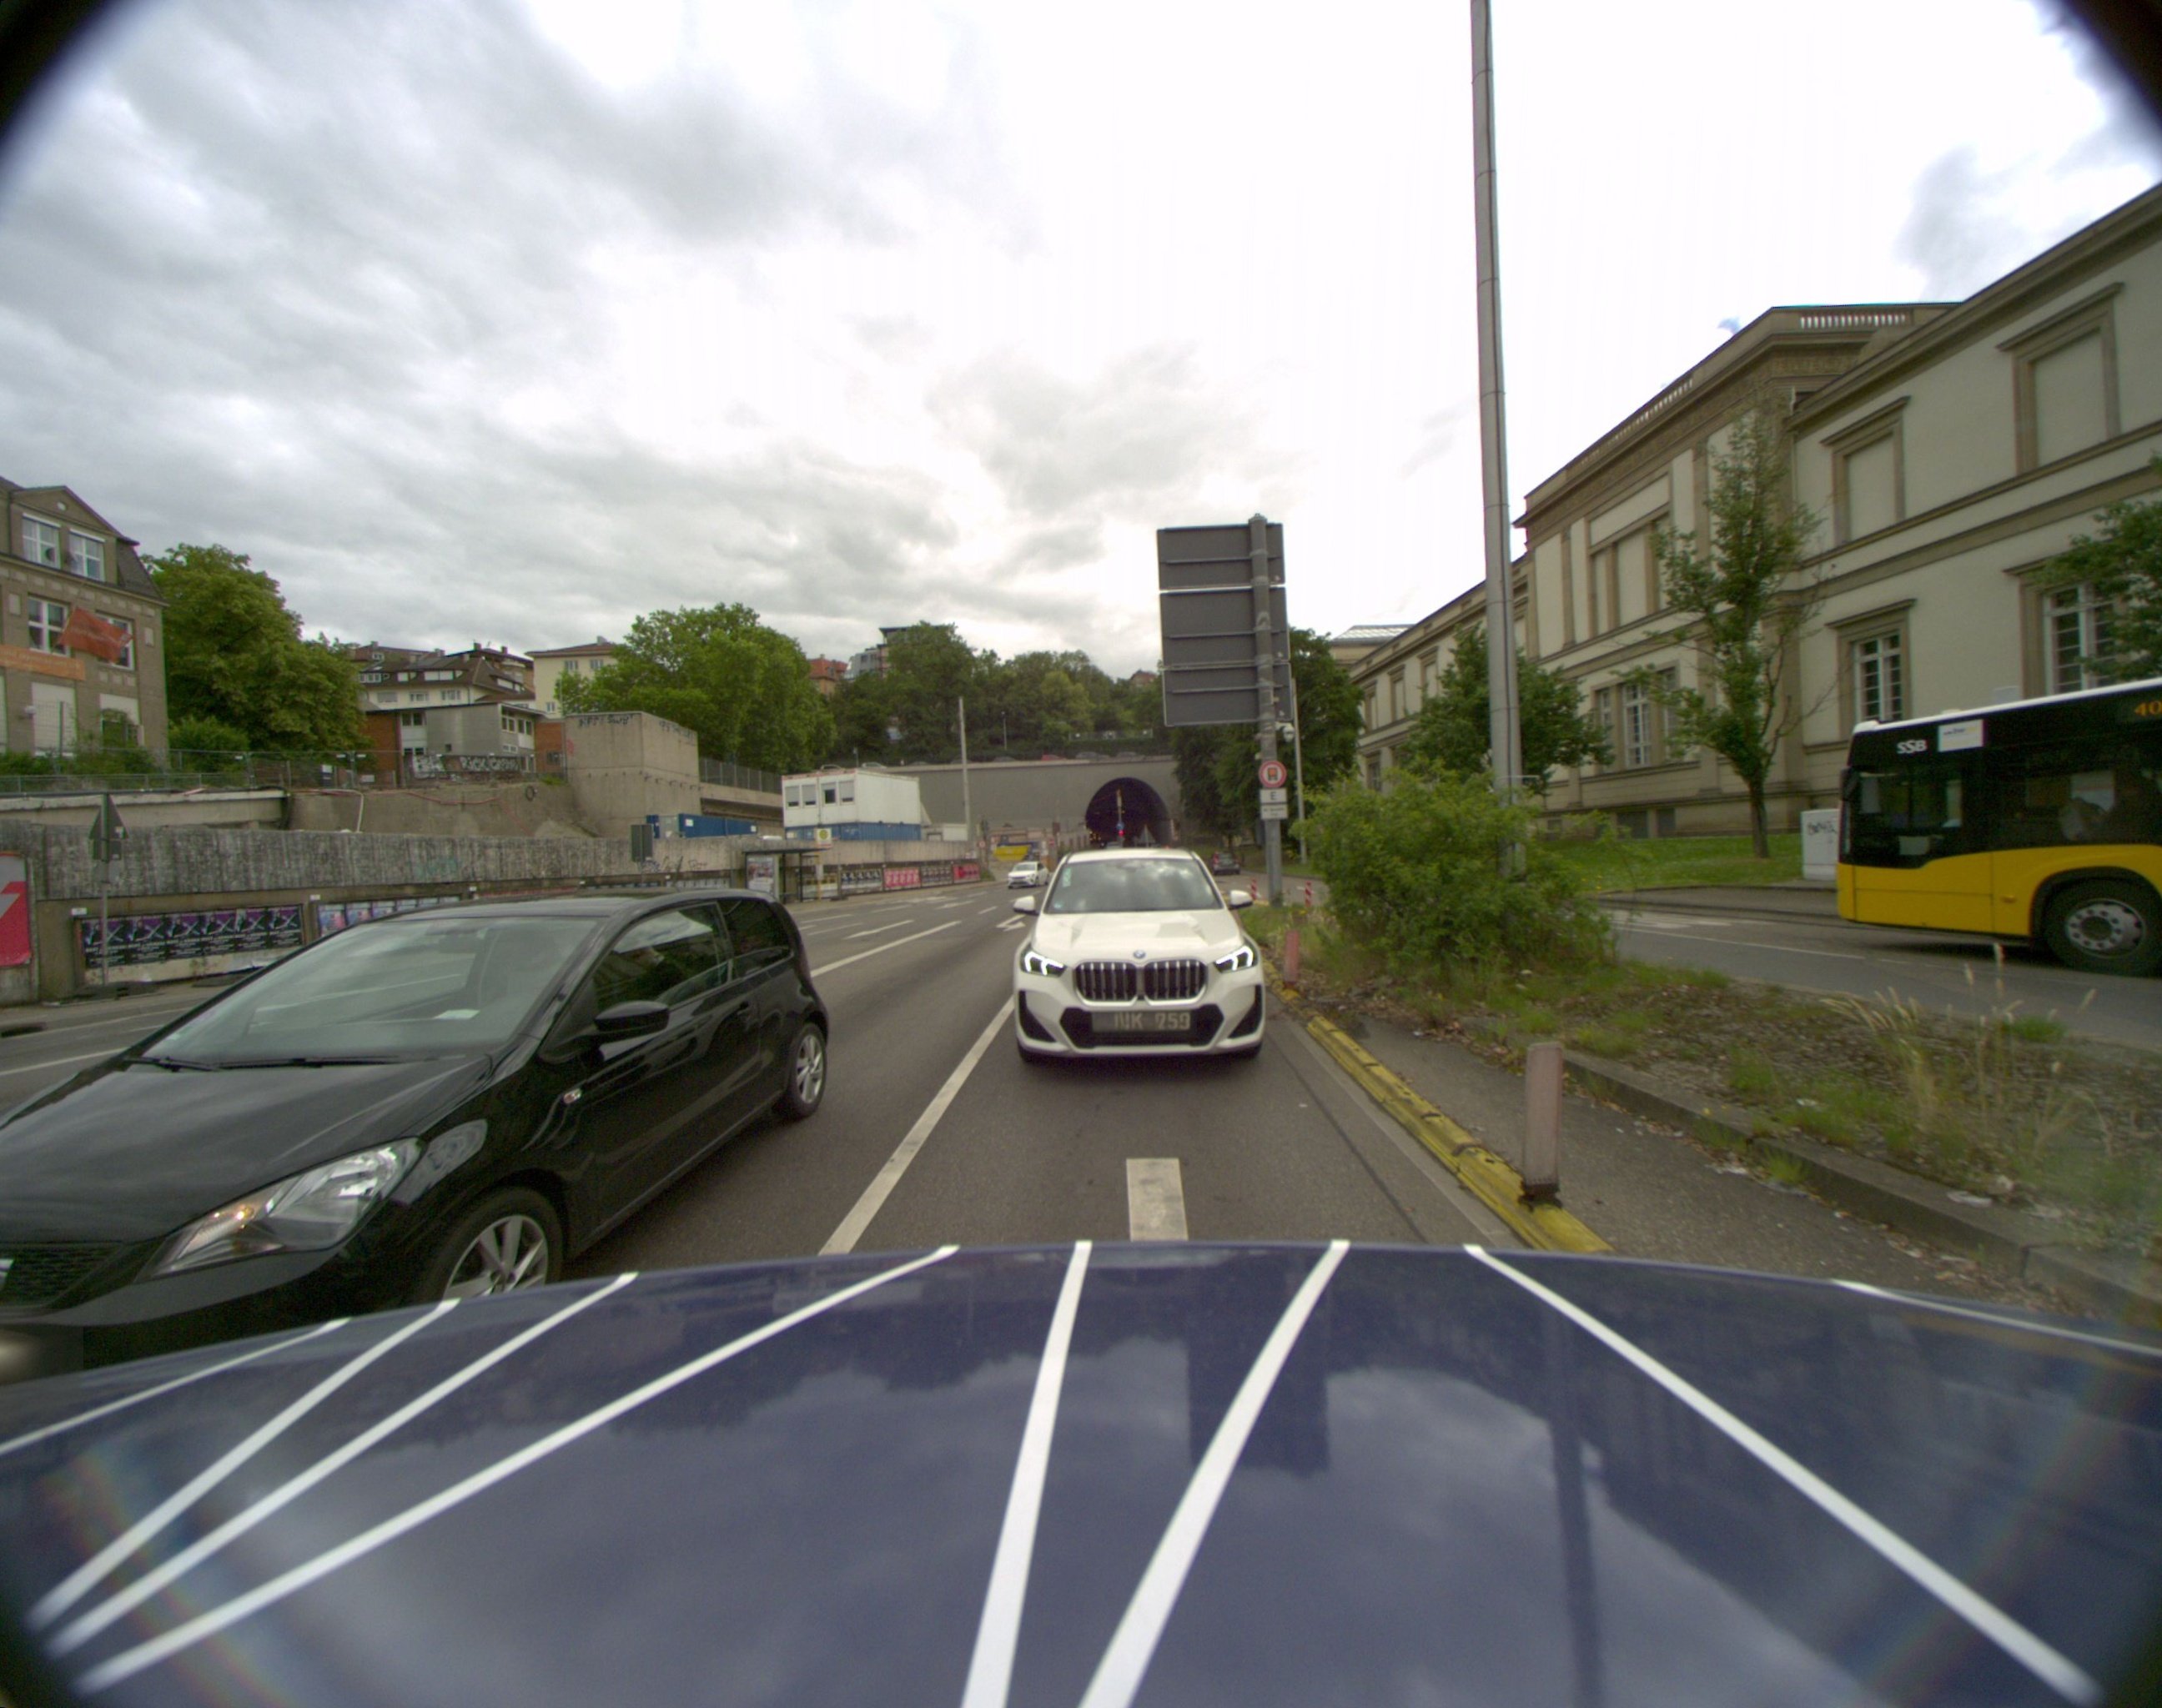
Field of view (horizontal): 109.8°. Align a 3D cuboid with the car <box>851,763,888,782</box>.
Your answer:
[{"bbox_3d":[-26.017,-10.050,93.382,3.998,2.002,1.999,-2,1,-5],"label":"car"}]

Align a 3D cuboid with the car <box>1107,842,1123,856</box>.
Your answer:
[{"bbox_3d":[3.859,-0.577,85.795,1.704,1.550,4.551,-3,0,3],"label":"car"}]

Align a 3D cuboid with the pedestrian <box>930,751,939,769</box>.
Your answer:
[{"bbox_3d":[-17.507,-11.212,90.620,0.851,2.002,0.905,-3,1,-3],"label":"pedestrian"}]

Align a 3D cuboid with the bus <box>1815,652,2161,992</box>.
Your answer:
[{"bbox_3d":[11.225,-0.343,5.298,2.852,3.096,9.749,-3,0,1],"label":"bus"}]

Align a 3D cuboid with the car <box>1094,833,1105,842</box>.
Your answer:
[{"bbox_3d":[2.930,-2.611,121.661,1.728,1.310,4.000,-3,0,1],"label":"car"}]

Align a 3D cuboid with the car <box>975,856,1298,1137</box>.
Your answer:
[{"bbox_3d":[0.393,0.860,6.464,1.848,1.581,3.882,-3,0,2],"label":"car"}]

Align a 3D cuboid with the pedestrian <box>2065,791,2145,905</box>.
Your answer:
[{"bbox_3d":[15.635,-0.084,11.614,0.586,1.685,0.459,-2,1,35],"label":"pedestrian"}]

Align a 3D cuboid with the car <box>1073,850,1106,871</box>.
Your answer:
[{"bbox_3d":[0.752,0.496,63.174,1.825,1.562,4.657,-3,0,12],"label":"car"}]

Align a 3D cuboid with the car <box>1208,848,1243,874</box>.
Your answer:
[{"bbox_3d":[9.151,0.429,48.164,1.539,1.542,2.823,-2,0,-2],"label":"car"}]

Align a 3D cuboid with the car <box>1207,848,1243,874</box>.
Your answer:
[{"bbox_3d":[9.212,0.423,48.899,1.667,1.582,3.882,-1,0,2],"label":"car"}]

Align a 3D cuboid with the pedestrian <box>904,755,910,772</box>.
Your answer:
[{"bbox_3d":[-21.467,-11.106,93.629,0.581,2.002,0.577,-2,1,-3],"label":"pedestrian"}]

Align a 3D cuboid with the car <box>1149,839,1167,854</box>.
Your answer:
[{"bbox_3d":[8.421,-0.817,83.619,1.667,1.582,3.882,-1,0,2],"label":"car"}]

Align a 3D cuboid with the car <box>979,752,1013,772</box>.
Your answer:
[{"bbox_3d":[-10.486,-11.374,94.017,3.998,2.002,1.999,-2,1,-2],"label":"car"}]

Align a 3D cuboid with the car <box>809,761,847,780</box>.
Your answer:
[{"bbox_3d":[-31.066,-10.238,93.318,3.998,2.002,1.999,-2,1,-5],"label":"car"}]

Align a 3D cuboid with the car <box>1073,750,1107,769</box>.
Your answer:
[{"bbox_3d":[1.098,-11.798,94.497,3.998,2.002,1.999,-2,1,-2],"label":"car"}]

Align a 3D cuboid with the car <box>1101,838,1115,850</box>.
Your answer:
[{"bbox_3d":[3.560,-1.333,101.966,1.705,1.550,4.550,-3,0,1],"label":"car"}]

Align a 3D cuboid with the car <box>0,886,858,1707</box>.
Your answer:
[{"bbox_3d":[-2.507,1.014,3.419,1.667,1.487,3.882,-3,0,2],"label":"car"}]

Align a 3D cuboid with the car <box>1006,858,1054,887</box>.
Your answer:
[{"bbox_3d":[-2.920,1.078,44.507,1.662,1.471,4.003,-3,0,12],"label":"car"}]

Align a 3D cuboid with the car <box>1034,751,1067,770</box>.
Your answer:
[{"bbox_3d":[-3.780,-11.621,94.413,3.998,2.002,1.999,-2,1,-2],"label":"car"}]
